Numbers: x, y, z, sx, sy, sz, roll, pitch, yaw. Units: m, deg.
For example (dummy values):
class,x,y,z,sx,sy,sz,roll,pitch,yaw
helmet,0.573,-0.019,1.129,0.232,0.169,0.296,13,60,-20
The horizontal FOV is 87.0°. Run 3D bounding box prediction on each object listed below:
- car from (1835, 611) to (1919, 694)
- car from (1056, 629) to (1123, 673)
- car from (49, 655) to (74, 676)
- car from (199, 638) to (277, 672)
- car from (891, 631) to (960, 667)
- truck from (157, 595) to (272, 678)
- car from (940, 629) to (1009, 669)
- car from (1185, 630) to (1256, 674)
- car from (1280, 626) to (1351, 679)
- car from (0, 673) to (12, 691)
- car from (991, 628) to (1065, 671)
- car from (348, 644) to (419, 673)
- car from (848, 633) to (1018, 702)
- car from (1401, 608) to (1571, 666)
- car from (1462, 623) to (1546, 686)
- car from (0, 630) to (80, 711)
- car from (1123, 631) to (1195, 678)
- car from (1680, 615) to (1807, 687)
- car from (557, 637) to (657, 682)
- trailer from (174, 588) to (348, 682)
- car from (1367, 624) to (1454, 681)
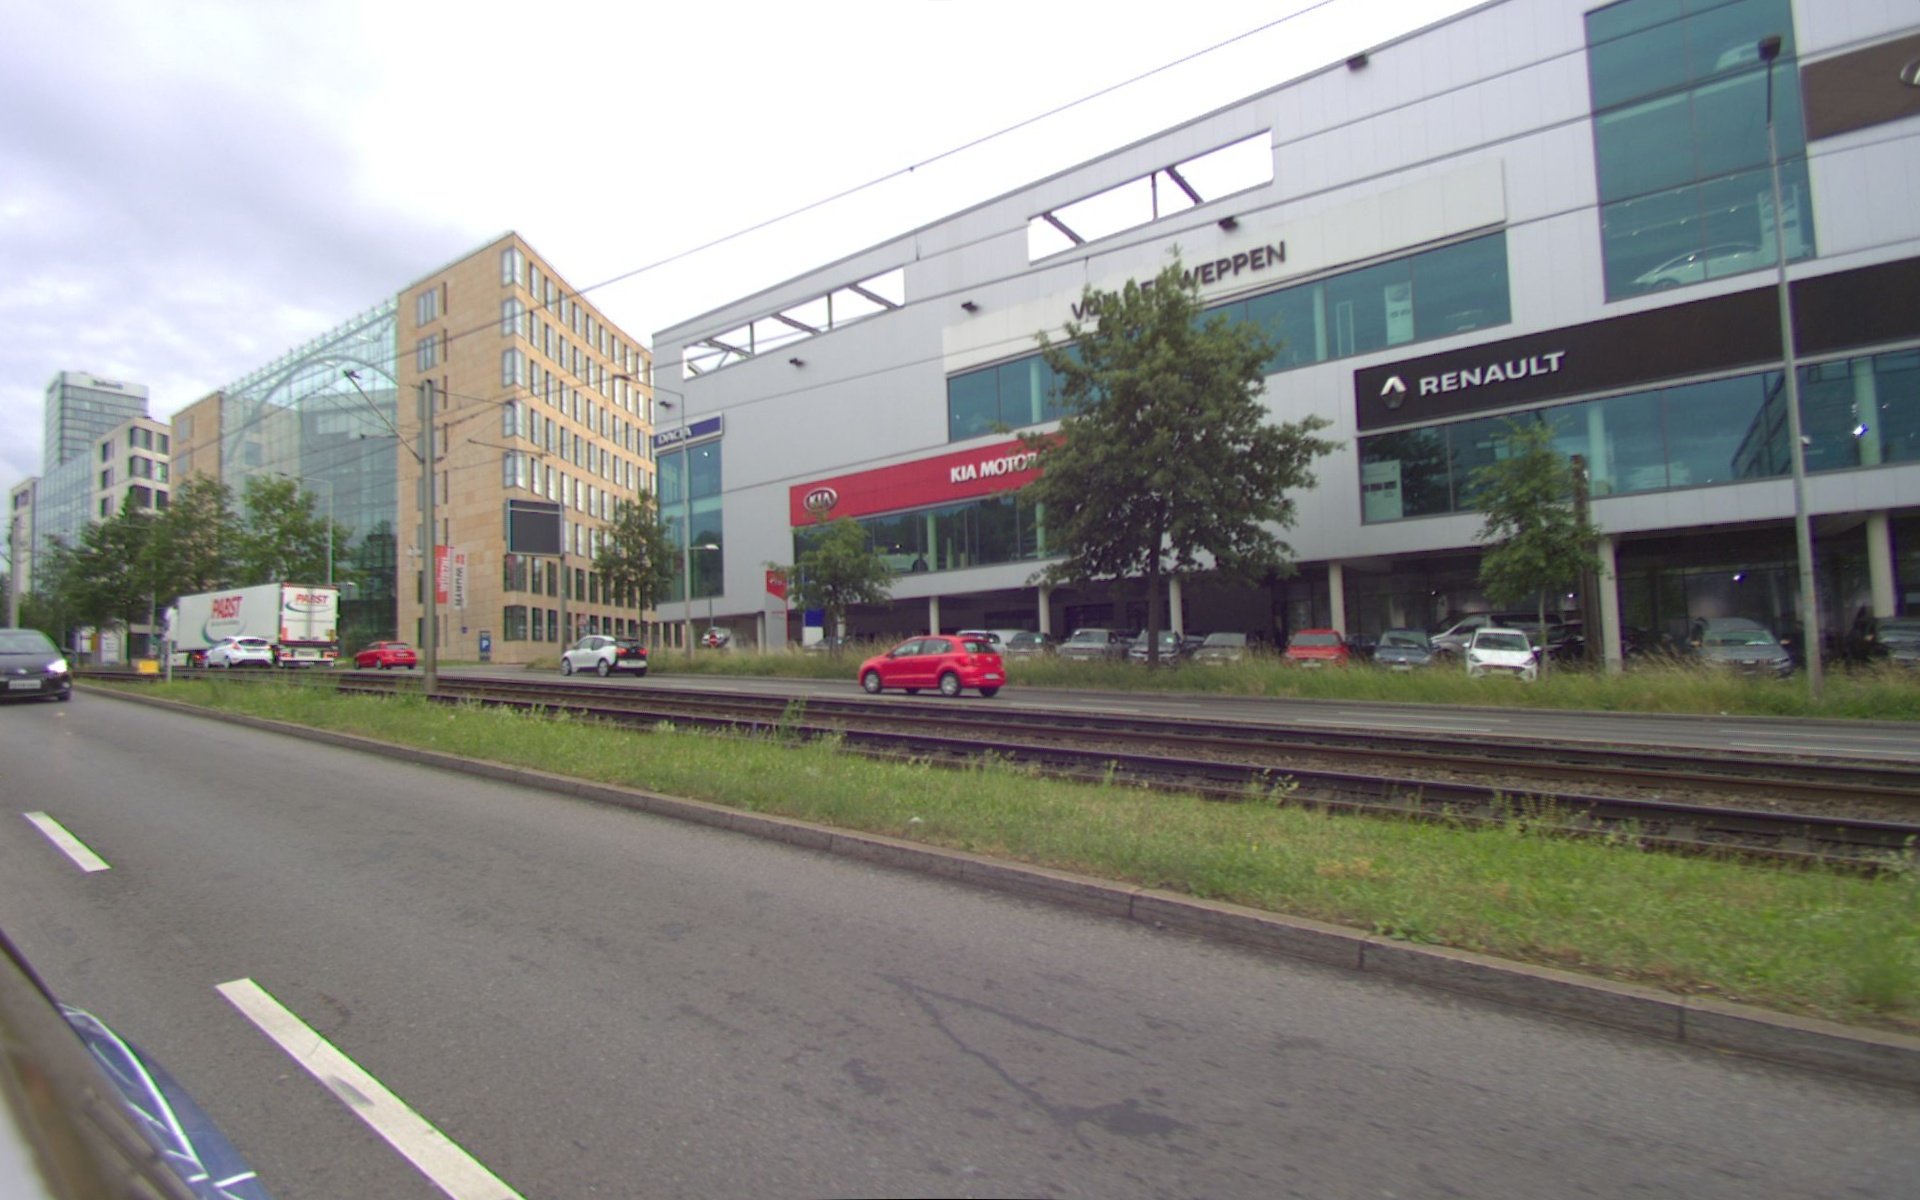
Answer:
class,x,y,z,sx,sy,sz,roll,pitch,yaw
car,21.431,1.112,22.646,1.992,1.562,4.331,-2,1,30
car,4.764,1.819,36.799,1.686,1.362,3.503,-2,1,20
car,-77.809,5.669,87.630,1.606,1.630,4.004,0,-2,-43
car,-32.069,2.440,44.912,4.093,1.447,1.668,-2,-4,38
car,-1.382,2.005,41.729,1.685,1.196,3.643,-2,1,18
truck,-41.116,2.085,55.770,7.017,4.276,3.106,-2,-5,38
car,0.606,1.921,40.050,1.685,1.304,3.642,-2,1,18
car,8.637,1.685,33.401,1.689,1.190,3.498,-2,1,24
car,11.129,1.601,31.553,1.789,1.362,3.903,-2,1,24
car,-84.498,7.151,88.536,4.094,1.447,1.668,-2,-2,38
car,2.610,1.851,38.117,1.688,1.362,3.499,-2,1,23
car,-28.879,2.894,50.643,4.019,1.380,1.668,-2,-2,38
car,-0.709,1.592,24.393,4.098,1.524,1.568,-2,-4,40
car,17.346,1.221,33.564,4.489,1.796,1.997,-1,-2,5
car,15.333,1.474,28.414,1.914,1.470,4.005,-2,1,30
car,-19.654,1.406,20.879,3.823,1.544,1.683,-2,-2,40
car,6.891,1.849,34.863,1.689,1.362,3.498,-2,1,24
car,19.235,1.204,25.035,1.925,1.470,3.981,-2,1,30
car,-13.511,2.249,38.624,4.094,1.593,1.668,-2,-2,38
trailer,-36.251,1.872,52.151,13.256,4.363,3.105,-2,-5,37
car,13.461,1.511,30.113,1.914,1.362,4.005,-2,1,30
